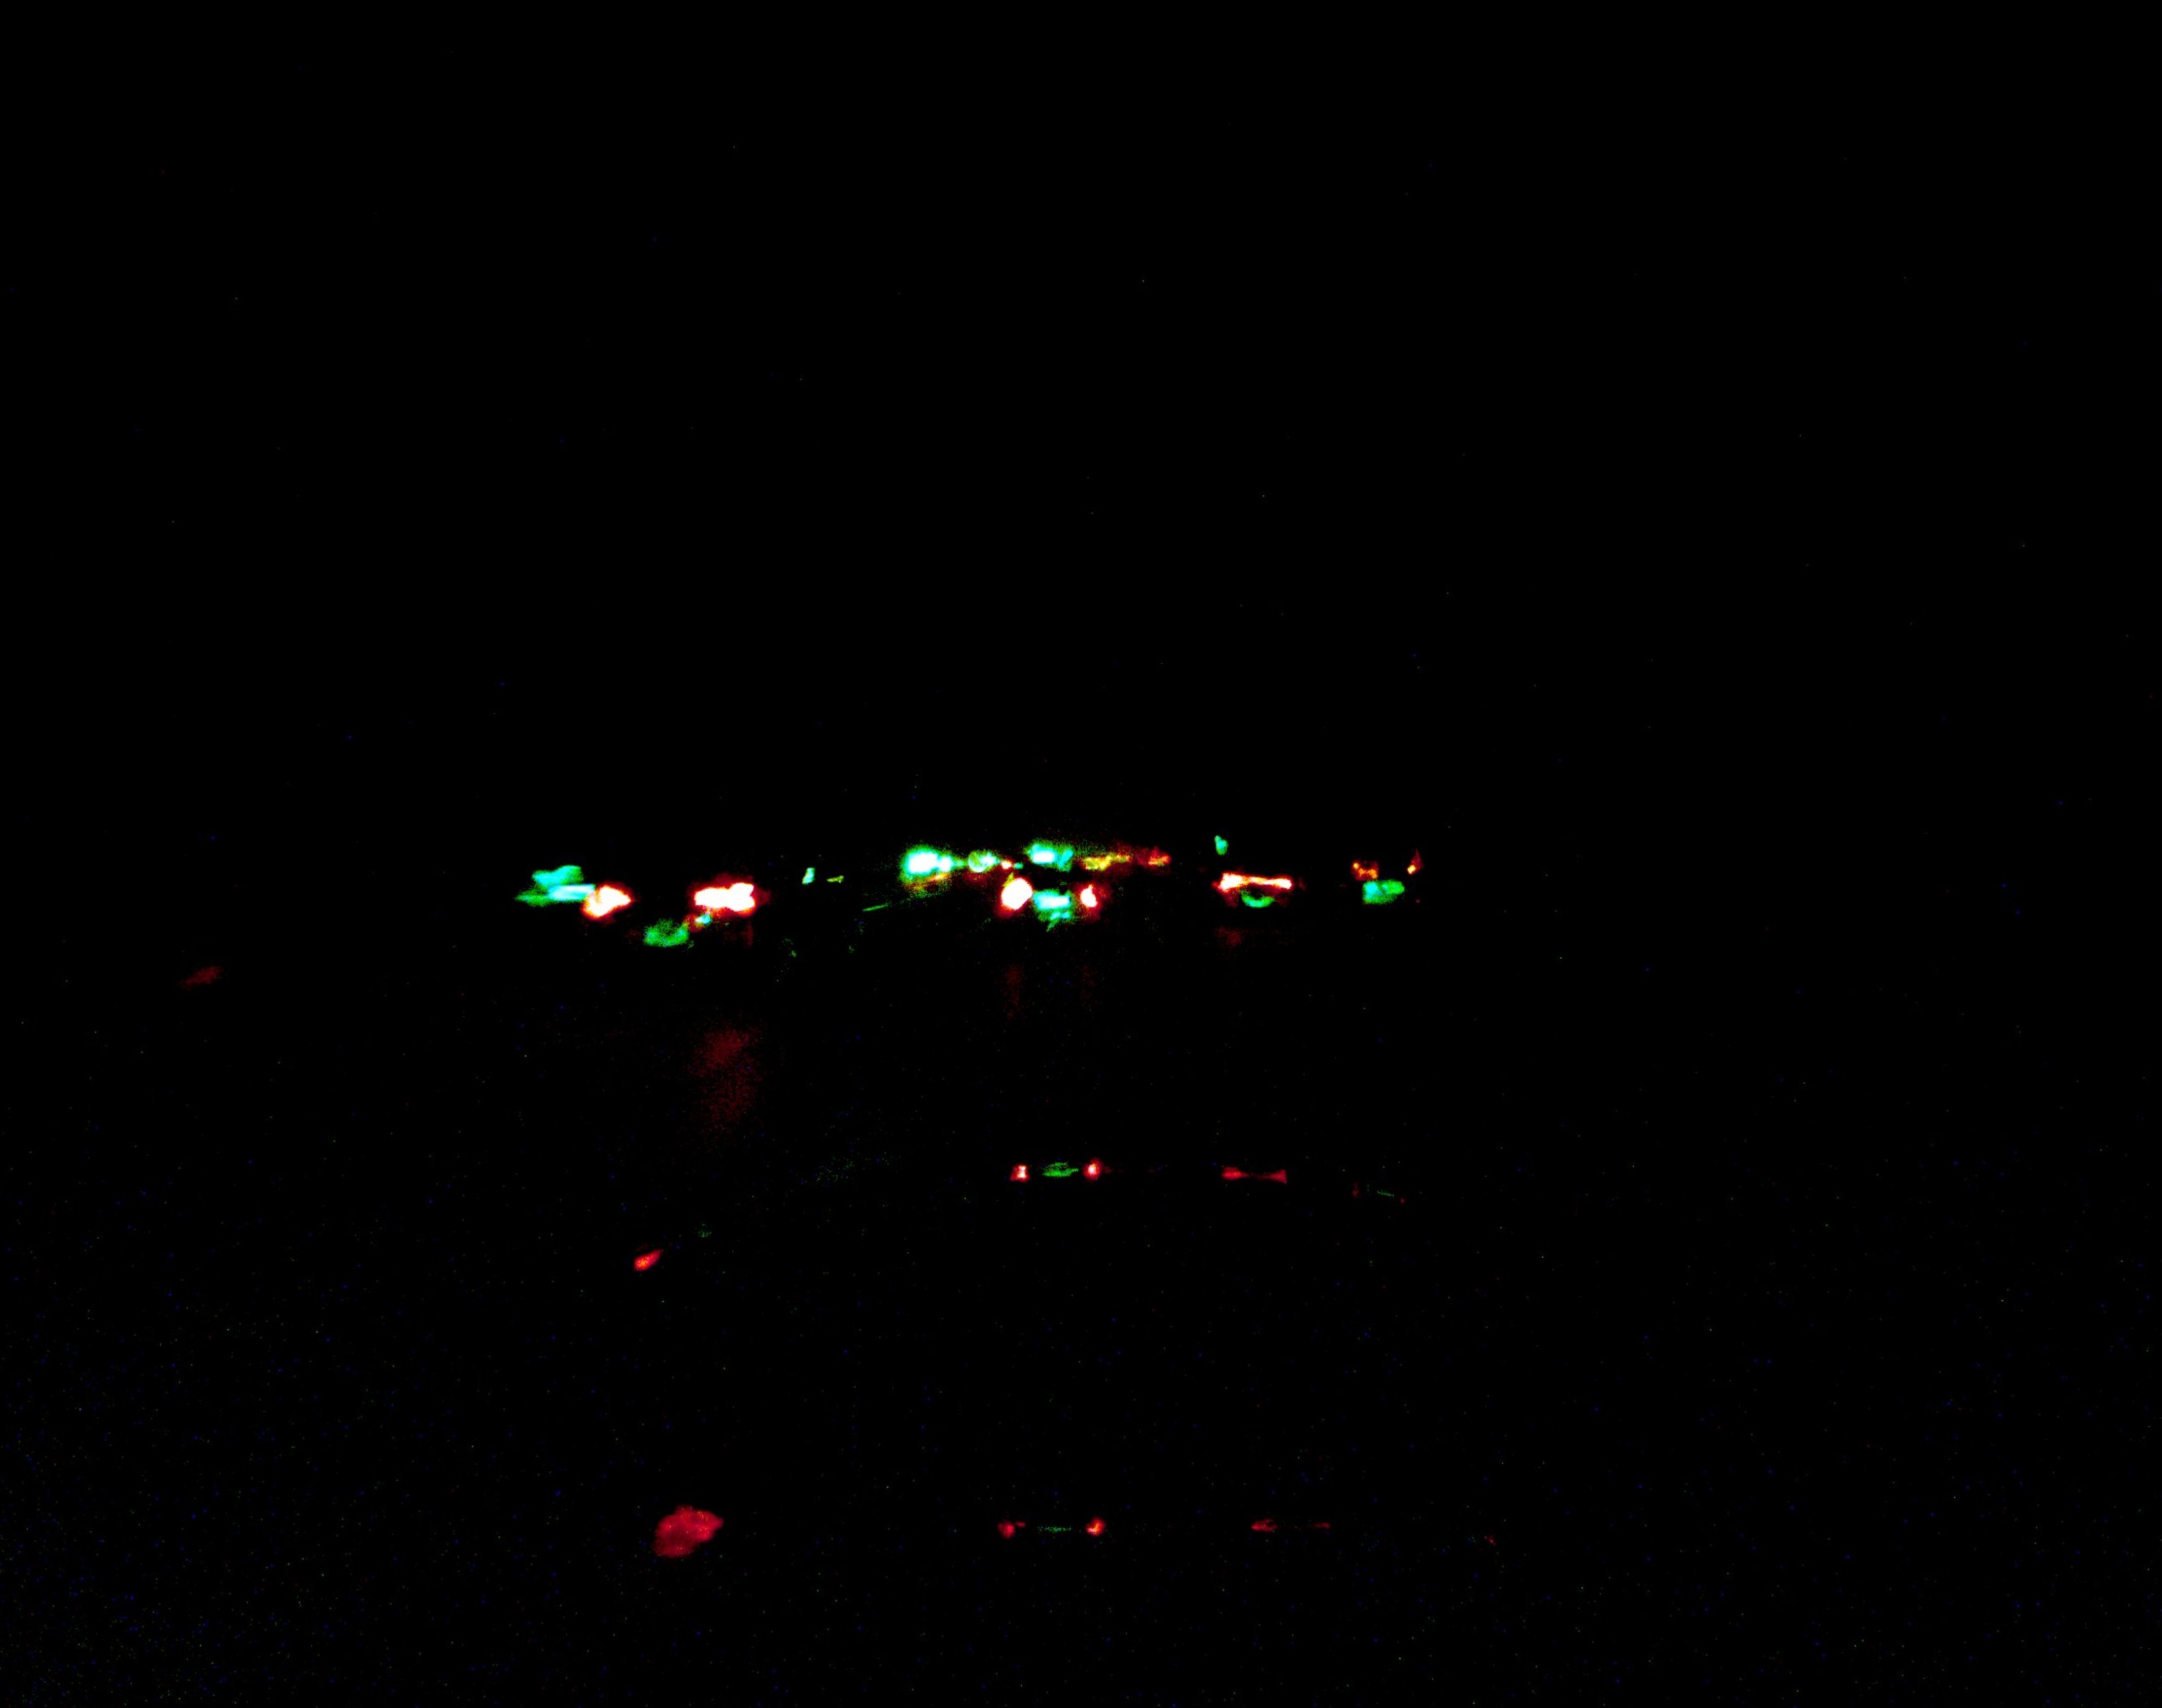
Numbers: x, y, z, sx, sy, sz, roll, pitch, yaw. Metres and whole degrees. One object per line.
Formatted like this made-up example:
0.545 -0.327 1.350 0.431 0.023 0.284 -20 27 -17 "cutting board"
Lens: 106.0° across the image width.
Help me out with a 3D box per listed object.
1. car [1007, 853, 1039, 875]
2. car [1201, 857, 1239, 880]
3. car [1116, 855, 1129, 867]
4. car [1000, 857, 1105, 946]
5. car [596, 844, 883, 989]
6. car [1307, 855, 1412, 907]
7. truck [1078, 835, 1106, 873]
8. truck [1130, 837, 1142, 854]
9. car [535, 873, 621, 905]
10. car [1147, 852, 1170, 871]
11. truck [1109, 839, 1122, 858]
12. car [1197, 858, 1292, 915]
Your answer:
-3.543 0.606 50.003 1.657 1.236 3.760 -4 0 -1 "car"
8.021 0.834 47.226 1.577 1.246 3.066 -1 0 -3 "car"
5.899 0.993 115.873 1.855 1.618 4.003 -1 0 3 "car"
-0.440 0.832 16.087 1.795 1.487 4.001 -1 0 1 "car"
-4.302 0.715 11.251 1.851 1.541 4.751 -1 -1 1 "car"
7.217 0.666 21.374 1.577 1.246 3.066 -1 0 -3 "car"
1.041 -0.020 71.133 1.985 3.042 6.469 -4 0 3 "truck"
10.480 -1.564 154.934 1.985 3.042 6.469 -4 0 3 "truck"
-24.161 1.652 39.258 1.647 1.343 3.999 -1 0 -1 "car"
6.919 0.624 72.817 1.855 1.618 4.003 -1 0 3 "car"
5.906 -0.944 140.800 1.985 3.042 6.469 -4 0 3 "truck"
3.932 0.747 20.016 1.577 1.246 3.066 -1 0 -3 "car"
